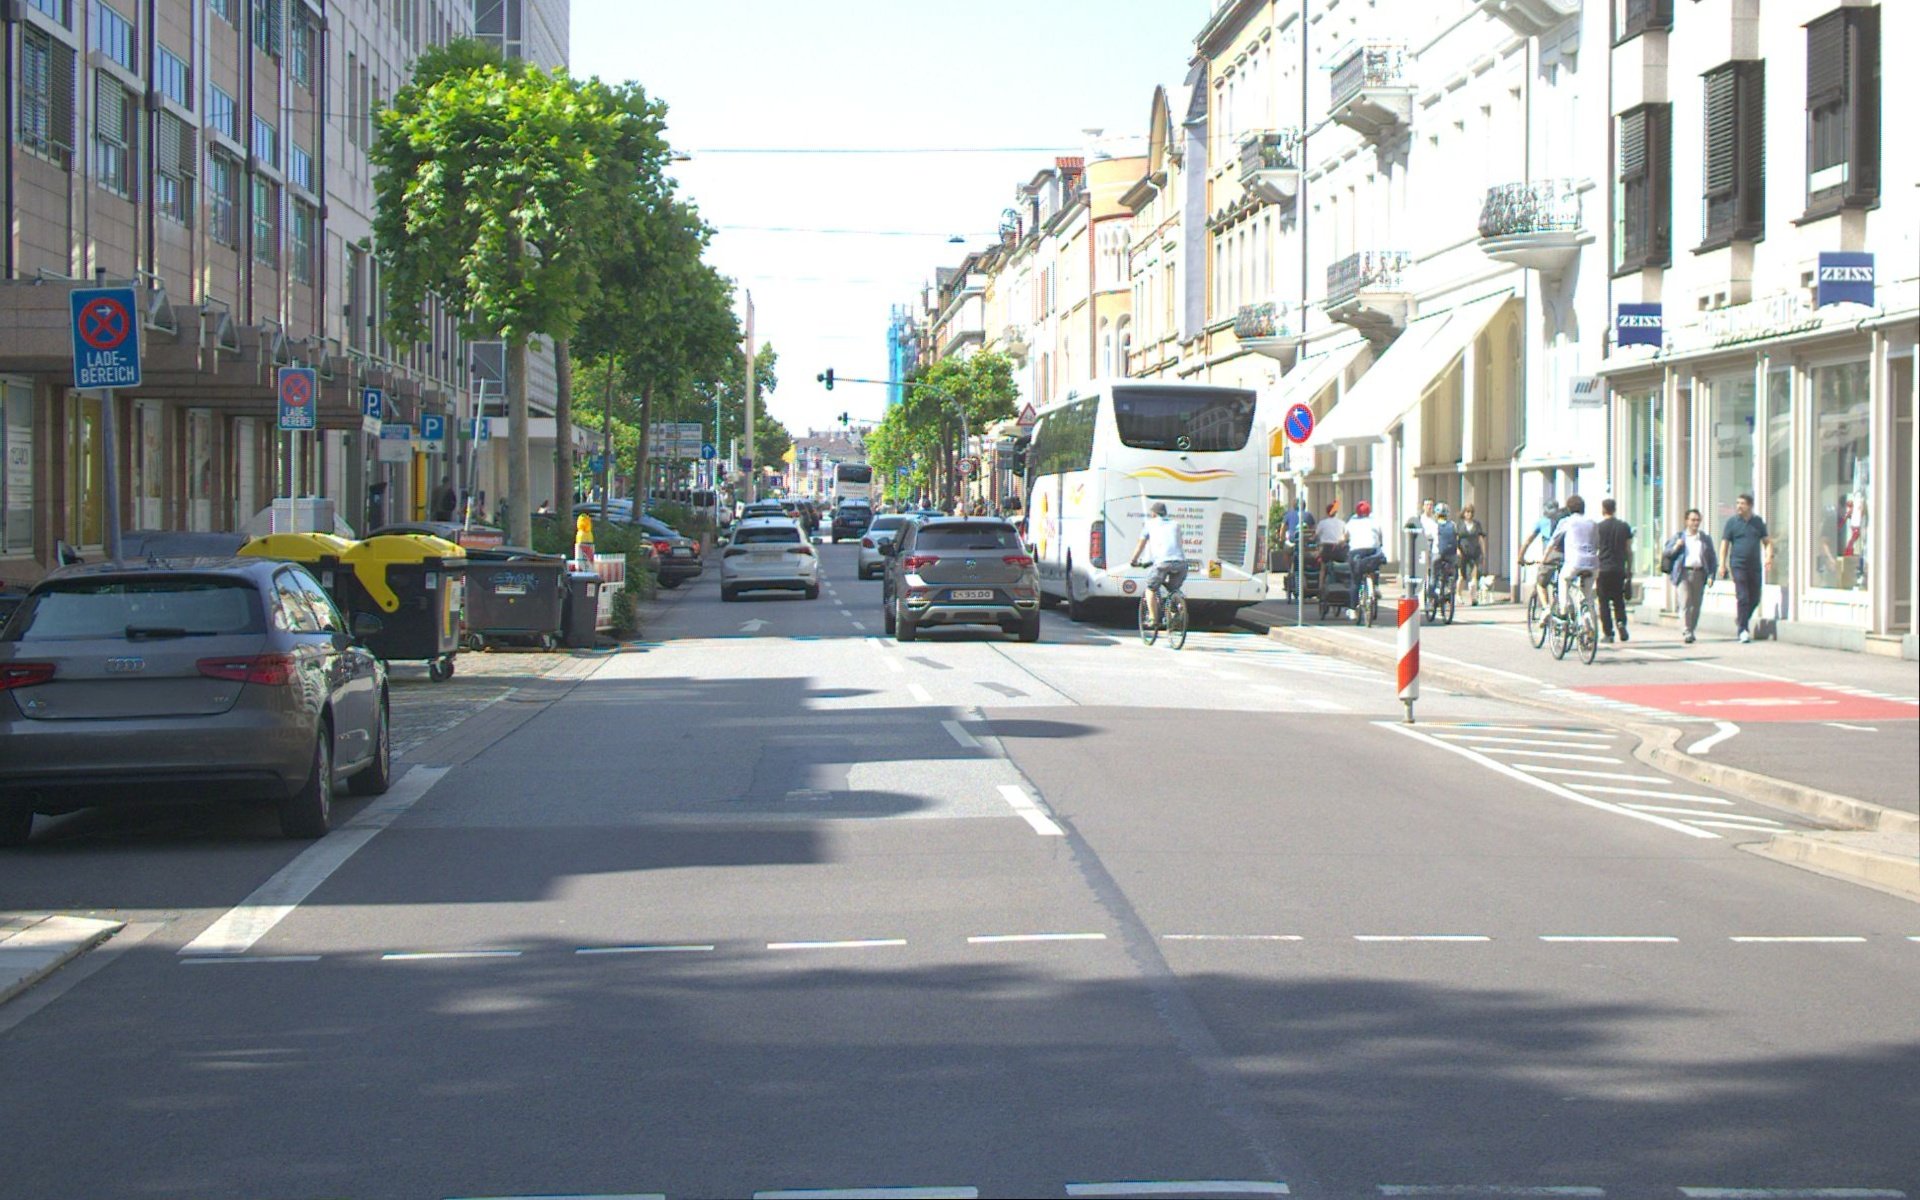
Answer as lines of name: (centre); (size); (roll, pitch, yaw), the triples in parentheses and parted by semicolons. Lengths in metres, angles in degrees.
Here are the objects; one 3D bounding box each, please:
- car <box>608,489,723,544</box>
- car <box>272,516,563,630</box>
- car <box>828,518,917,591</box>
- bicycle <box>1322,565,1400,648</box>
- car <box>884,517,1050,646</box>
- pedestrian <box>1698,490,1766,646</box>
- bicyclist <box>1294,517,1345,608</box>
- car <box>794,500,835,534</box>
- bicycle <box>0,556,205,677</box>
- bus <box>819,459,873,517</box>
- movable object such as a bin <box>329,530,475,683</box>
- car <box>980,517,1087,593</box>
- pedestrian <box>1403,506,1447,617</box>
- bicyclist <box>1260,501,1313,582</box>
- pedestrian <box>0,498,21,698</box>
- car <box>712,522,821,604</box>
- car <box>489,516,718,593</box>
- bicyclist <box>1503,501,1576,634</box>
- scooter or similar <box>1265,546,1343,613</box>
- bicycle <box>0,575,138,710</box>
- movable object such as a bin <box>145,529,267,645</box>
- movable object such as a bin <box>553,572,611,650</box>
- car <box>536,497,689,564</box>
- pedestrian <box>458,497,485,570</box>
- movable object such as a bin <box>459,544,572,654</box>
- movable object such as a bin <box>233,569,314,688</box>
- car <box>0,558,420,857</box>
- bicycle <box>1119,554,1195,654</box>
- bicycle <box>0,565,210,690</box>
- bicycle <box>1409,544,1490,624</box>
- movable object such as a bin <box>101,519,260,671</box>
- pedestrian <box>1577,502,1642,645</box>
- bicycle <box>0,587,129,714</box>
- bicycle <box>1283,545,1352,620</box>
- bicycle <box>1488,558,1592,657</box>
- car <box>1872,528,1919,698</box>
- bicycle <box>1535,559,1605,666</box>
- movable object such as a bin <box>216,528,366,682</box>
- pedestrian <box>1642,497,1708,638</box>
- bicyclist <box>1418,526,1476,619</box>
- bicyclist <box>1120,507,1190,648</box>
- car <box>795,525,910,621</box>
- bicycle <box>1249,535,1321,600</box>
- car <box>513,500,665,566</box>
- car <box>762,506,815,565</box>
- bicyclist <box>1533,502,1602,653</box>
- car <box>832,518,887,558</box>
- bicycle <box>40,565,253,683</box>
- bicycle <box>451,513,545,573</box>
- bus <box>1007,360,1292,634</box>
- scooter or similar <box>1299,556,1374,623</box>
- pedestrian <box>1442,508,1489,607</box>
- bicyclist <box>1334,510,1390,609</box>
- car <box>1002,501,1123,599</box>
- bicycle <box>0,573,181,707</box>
car: (-12.637, -3.592, 147.241); (4.720, 1.996, 1.937); (5, 1, 38)
car: (-7.899, -0.424, 49.892); (4.054, 1.489, 1.931); (3, 3, 39)
car: (-1.966, -0.992, 76.256); (1.833, 1.522, 4.000); (-1, 0, -3)
bicycle: (5.605, 0.078, 48.170); (0.620, 1.095, 2.353); (1, 1, -4)
car: (0.043, -0.257, 43.620); (1.833, 1.522, 4.001); (1, 1, -4)
pedestrian: (9.270, -0.381, 41.295); (0.694, 1.844, 0.835); (0, 0, 6)
bicyclist: (5.483, -0.575, 52.413); (0.620, 1.366, 0.781); (1, 1, -4)
car: (-6.944, -3.943, 163.611); (1.863, 1.436, 4.000); (-1, 0, -3)
bicycle: (-8.148, 0.159, 32.623); (1.843, 1.069, 0.557); (-2, -2, -6)
bus: (-7.231, -7.077, 217.119); (2.769, 3.592, 8.976); (0, 2, -6)
movable object such as a bin: (-5.603, 0.049, 34.607); (1.124, 1.445, 1.438); (2, 2, 3)
car: (1.582, -1.013, 75.709); (1.812, 1.461, 4.582); (2, 2, -5)
pedestrian: (7.514, -0.620, 55.550); (0.573, 1.772, 1.020); (0, 0, 0)
bicyclist: (5.661, -1.011, 59.594); (0.787, 1.374, 0.723); (1, 1, -4)
pedestrian: (-8.680, -0.030, 29.922); (0.888, 1.719, 0.748); (1, 1, -9)
car: (-3.610, -0.713, 63.575); (1.862, 1.436, 4.001); (-1, 1, -5)
car: (-7.544, -0.968, 72.480); (4.792, 1.417, 1.879); (4, 3, 38)
bicyclist: (6.742, -0.384, 39.995); (0.620, 1.524, 0.869); (1, 1, -4)
scooter or similar: (5.789, -0.349, 57.931); (1.121, 1.098, 1.085); (1, 1, -4)
bicycle: (-8.108, 0.349, 29.587); (1.959, 1.116, 0.557); (2, 0, -14)
movable object such as a bin: (-8.993, -0.164, 41.062); (1.208, 1.295, 1.127); (2, 2, -2)
movable object such as a bin: (-4.708, 0.133, 42.845); (0.553, 0.936, 0.500); (-2, 2, -28)
car: (-10.130, -2.031, 100.123); (3.992, 1.563, 1.698); (6, 2, 22)
pedestrian: (-11.187, -1.522, 78.734); (0.565, 1.651, 0.637); (0, 1, -10)
movable object such as a bin: (-5.338, -0.020, 41.345); (1.277, 1.295, 0.853); (1, 1, -2)
movable object such as a bin: (-6.621, 0.268, 33.156); (0.722, 1.094, 0.657); (2, 2, -10)
car: (-4.165, 0.488, 18.516); (1.936, 1.350, 4.250); (0, 2, -1)
bicycle: (2.408, 0.033, 42.260); (0.664, 1.116, 2.244); (2, 2, -2)
bicycle: (-8.304, 0.262, 33.214); (1.974, 1.116, 0.509); (2, 0, -6)
bicycle: (6.923, -0.238, 48.715); (0.620, 1.095, 2.353); (1, 1, -4)
movable object such as a bin: (-7.886, -0.069, 34.854); (1.209, 1.445, 1.364); (2, 2, 3)
pedestrian: (7.884, -0.321, 41.730); (0.620, 1.714, 0.835); (0, 0, 0)
bicycle: (-8.009, 0.405, 28.869); (1.962, 1.014, 0.671); (2, 0, -14)
bicycle: (5.438, -0.282, 52.425); (0.620, 1.095, 2.353); (1, 1, -4)
bicycle: (6.742, 0.074, 40.077); (0.620, 1.095, 2.353); (1, 1, -4)
car: (10.421, 0.118, 30.702); (4.044, 1.489, 1.842); (0, -1, -1)
bicycle: (6.656, 0.122, 37.581); (0.594, 1.116, 1.801); (0, 2, 5)
movable object such as a bin: (-6.731, 0.033, 34.667); (1.124, 1.445, 1.438); (2, 2, 3)
pedestrian: (8.625, -0.399, 41.500); (0.694, 1.680, 0.835); (0, 1, 6)
bicyclist: (6.913, -0.397, 48.858); (0.620, 1.292, 0.867); (1, 1, -4)
bicyclist: (2.388, -0.284, 42.131); (0.694, 1.667, 0.916); (3, 2, -2)
car: (-1.787, -0.444, 57.602); (1.833, 1.522, 4.000); (-1, 0, -1)
bicycle: (5.631, -0.575, 59.688); (0.838, 1.095, 2.353); (1, 1, -4)
car: (-10.111, -1.829, 93.728); (3.986, 1.495, 1.718); (4, 1, -6)
car: (-6.210, -2.316, 124.086); (1.863, 2.023, 4.000); (1, 0, -3)
bicyclist: (6.596, -0.248, 37.345); (0.694, 1.620, 0.835); (0, 1, 7)
car: (-3.670, -2.263, 124.856); (1.863, 1.436, 4.001); (0, 2, -3)
bicycle: (-7.998, 0.232, 33.848); (1.967, 1.116, 0.509); (1, 0, -6)
bicycle: (-10.591, -1.305, 78.771); (2.064, 1.284, 0.368); (3, 1, -10)
bus: (2.740, -1.596, 54.338); (2.881, 3.729, 12.429); (2, 1, -4)
scooter or similar: (5.541, -0.162, 50.621); (0.865, 0.953, 1.213); (1, 1, -4)
pedestrian: (8.269, -0.691, 56.271); (0.645, 1.612, 0.822); (0, 0, 0)
bicyclist: (5.620, -0.568, 48.089); (0.620, 1.366, 0.781); (1, 1, -4)
car: (2.058, -1.052, 70.262); (1.827, 1.857, 4.355); (2, 2, -6)
bicycle: (-8.028, 0.340, 30.247); (2.235, 1.116, 0.557); (2, 0, -14)
